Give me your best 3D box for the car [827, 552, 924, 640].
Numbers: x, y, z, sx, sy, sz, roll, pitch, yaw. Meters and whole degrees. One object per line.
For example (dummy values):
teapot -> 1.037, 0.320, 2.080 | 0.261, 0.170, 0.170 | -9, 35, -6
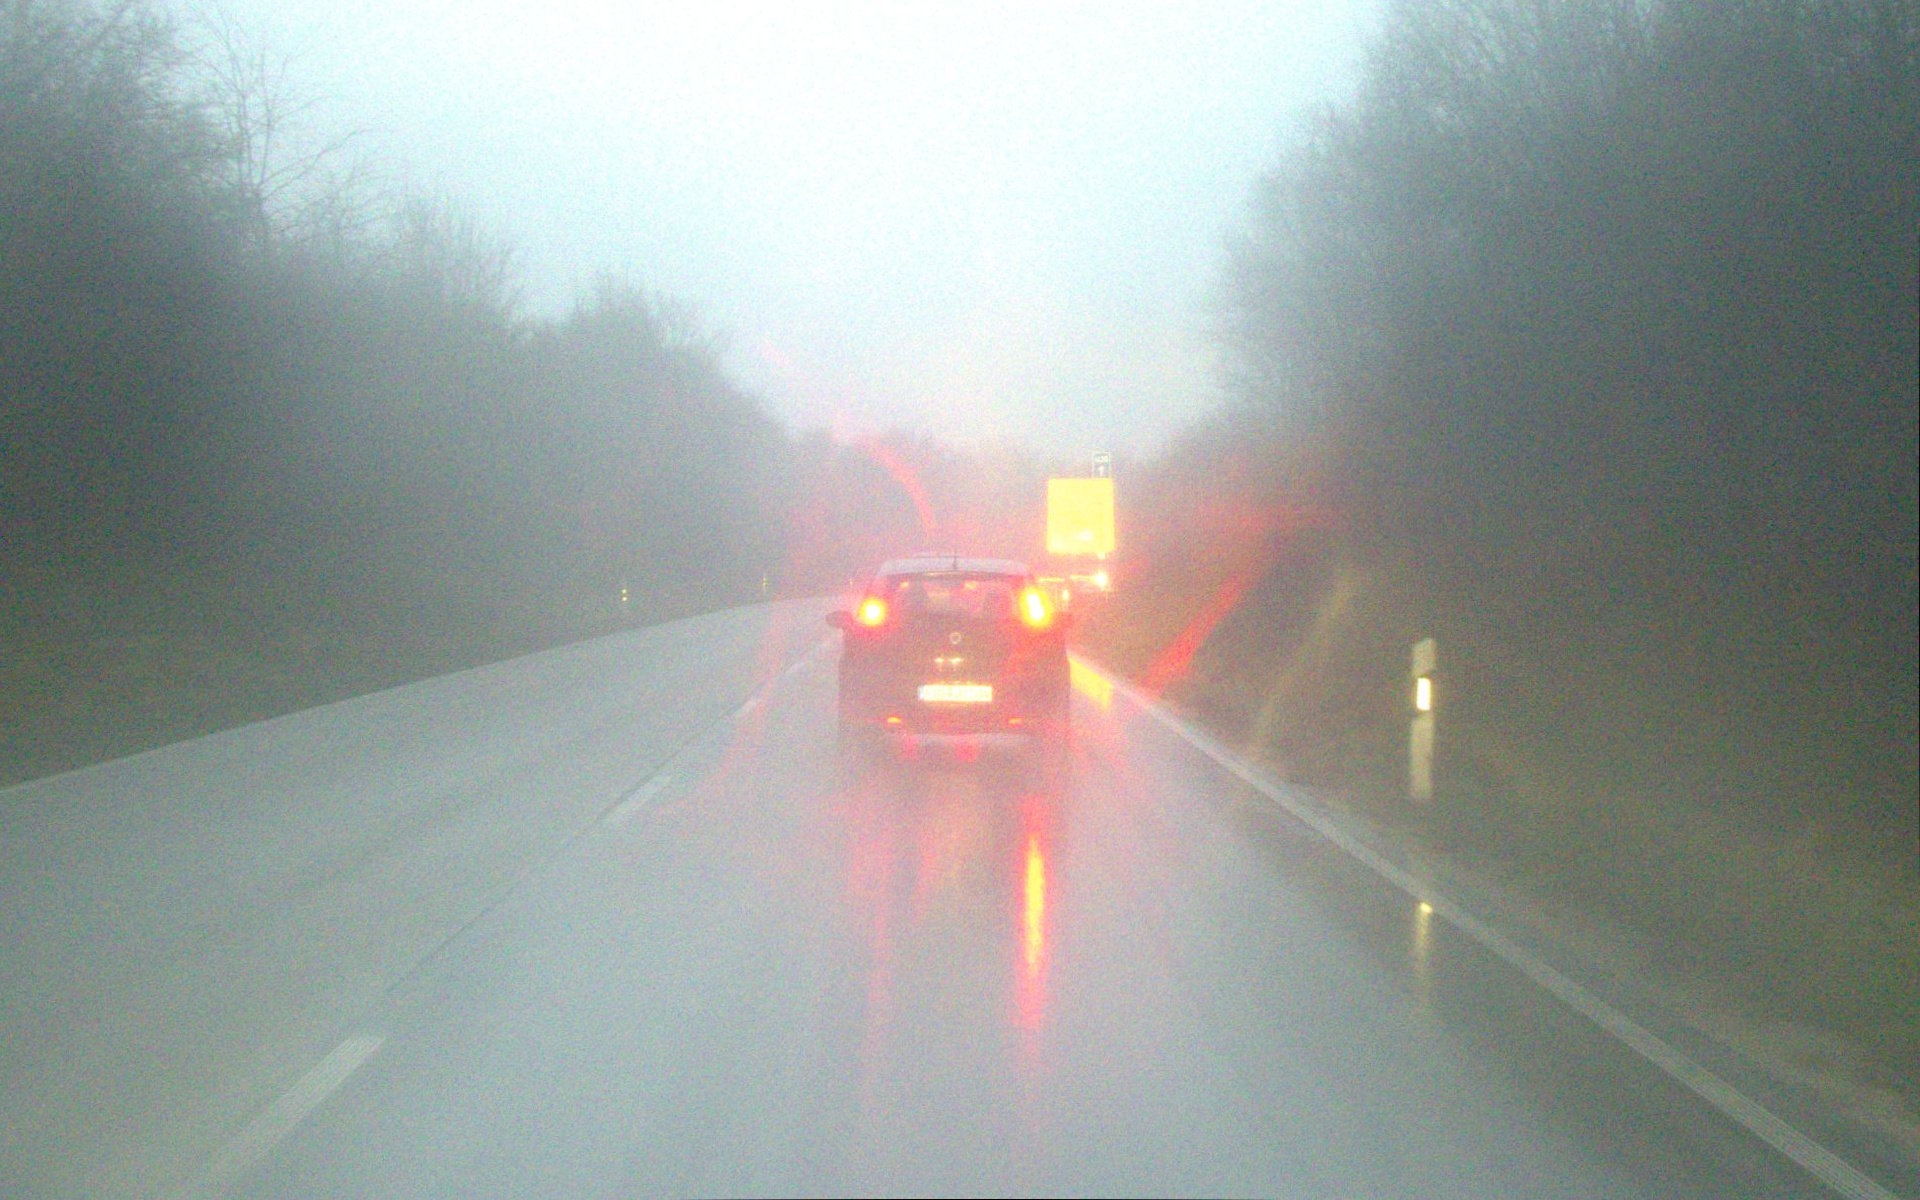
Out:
car -> -1.608, -0.097, 66.492 | 1.728, 1.638, 4.000 | 0, 1, 1

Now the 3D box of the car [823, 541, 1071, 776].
car -> -0.065, 0.382, 25.965 | 1.728, 1.638, 4.000 | 0, 1, 1
